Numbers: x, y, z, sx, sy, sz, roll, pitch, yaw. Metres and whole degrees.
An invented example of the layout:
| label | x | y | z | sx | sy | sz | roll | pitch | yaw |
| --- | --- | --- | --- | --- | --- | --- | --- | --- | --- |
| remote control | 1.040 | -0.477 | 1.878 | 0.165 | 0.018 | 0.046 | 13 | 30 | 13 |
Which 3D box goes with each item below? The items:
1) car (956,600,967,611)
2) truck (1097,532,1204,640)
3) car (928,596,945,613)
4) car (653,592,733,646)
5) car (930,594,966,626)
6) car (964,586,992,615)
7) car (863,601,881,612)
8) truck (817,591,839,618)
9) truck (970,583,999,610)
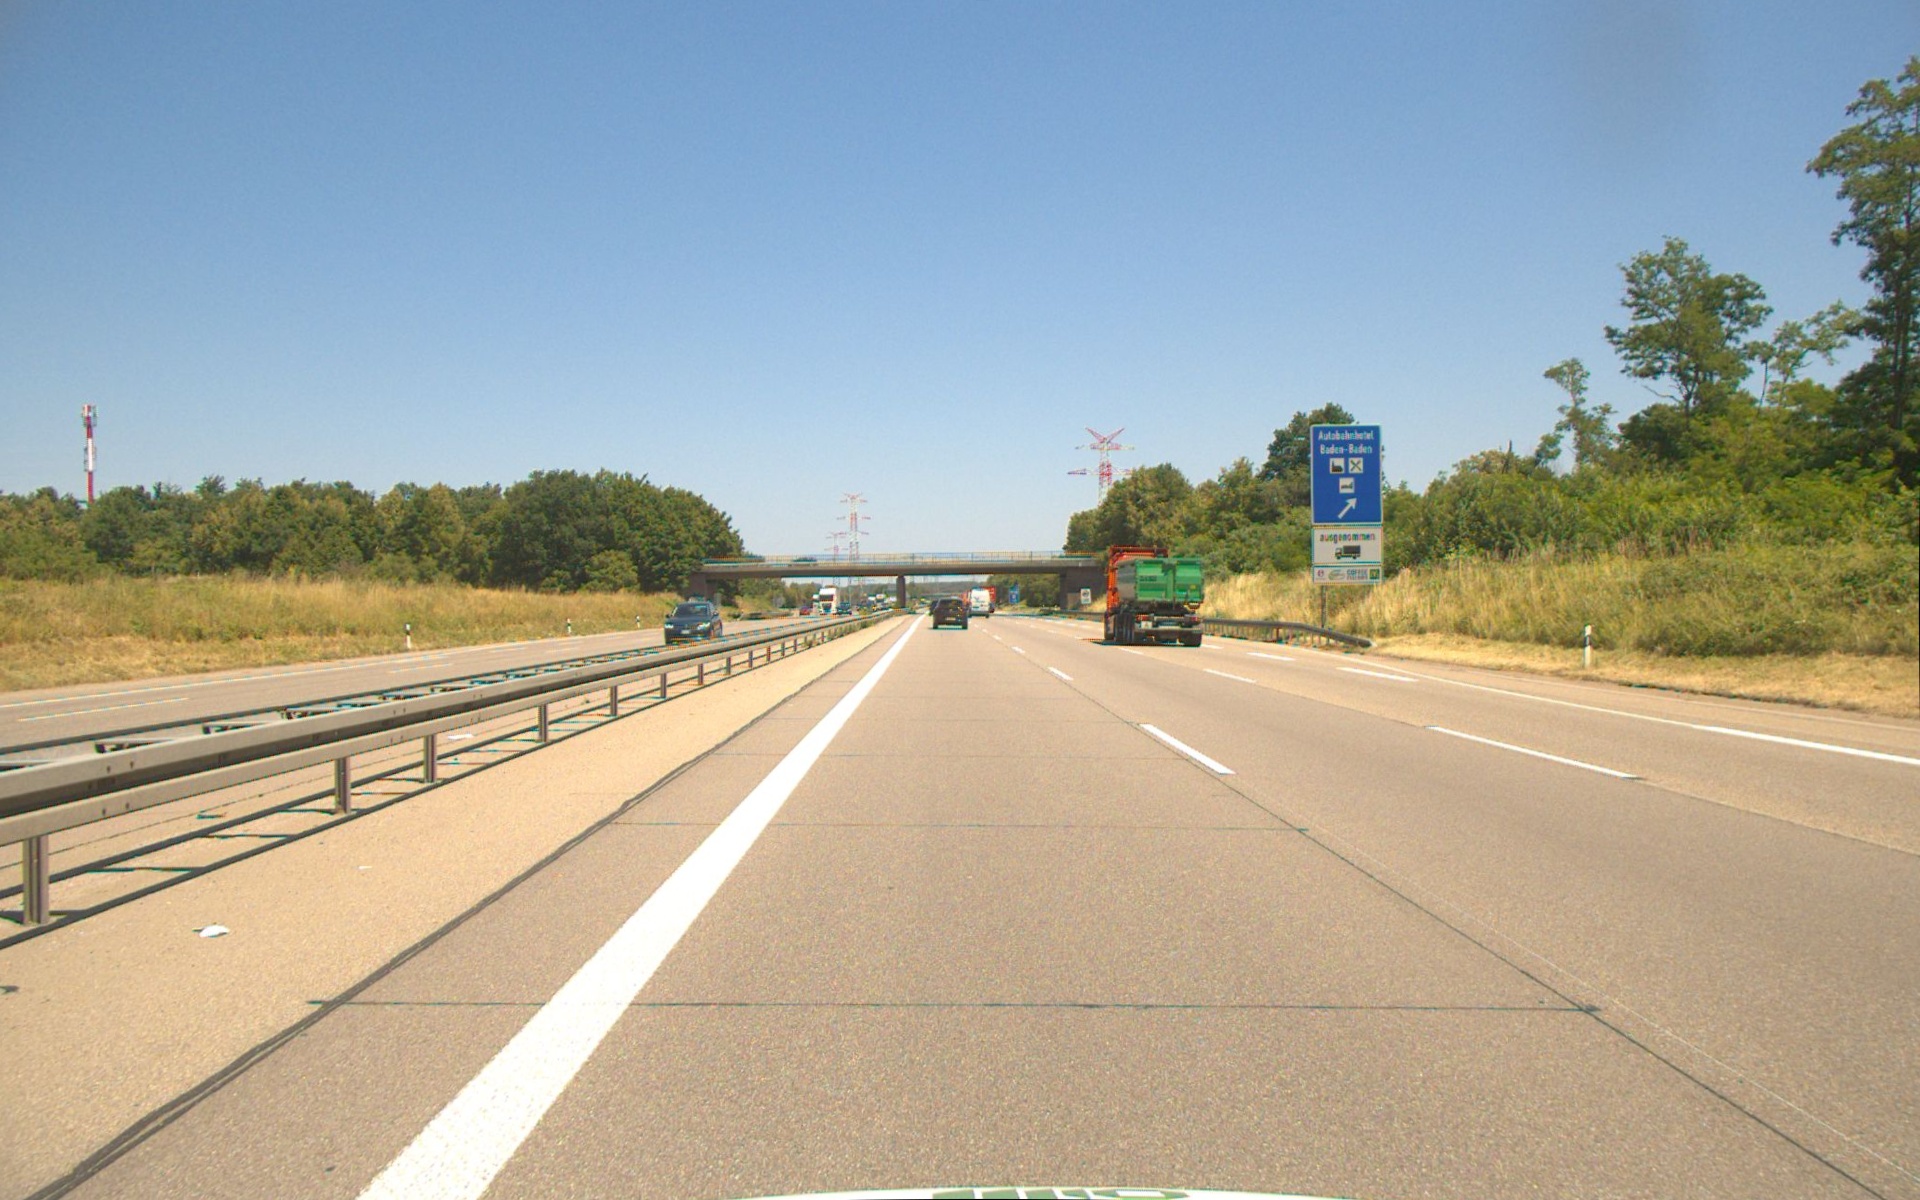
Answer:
| label | x | y | z | sx | sy | sz | roll | pitch | yaw |
| --- | --- | --- | --- | --- | --- | --- | --- | --- | --- |
| car | 0.255 | 0.789 | 255.305 | 1.711 | 1.662 | 4.003 | 1 | 0 | -1 |
| truck | 7.367 | -0.509 | 65.636 | 2.626 | 3.864 | 12.476 | 1 | 0 | -1 |
| car | -2.579 | 0.505 | 182.374 | 1.758 | 1.780 | 3.999 | 1 | 0 | -1 |
| car | -10.359 | 0.714 | 64.591 | 2.316 | 1.928 | 5.223 | -3 | 0 | -1 |
| car | -0.698 | 0.567 | 94.091 | 1.953 | 1.780 | 3.999 | 1 | 0 | -1 |
| car | 1.776 | 0.073 | 165.392 | 2.568 | 2.807 | 6.095 | 1 | 0 | -1 |
| car | -12.040 | 0.877 | 226.761 | 2.183 | 1.449 | 5.298 | -3 | 0 | -1 |
| truck | -20.591 | 0.665 | 258.669 | 2.889 | 4.029 | 6.951 | -3 | 0 | -1 |
| truck | 3.871 | -0.567 | 264.686 | 4.243 | 4.010 | 16.075 | 1 | 0 | 0 |
